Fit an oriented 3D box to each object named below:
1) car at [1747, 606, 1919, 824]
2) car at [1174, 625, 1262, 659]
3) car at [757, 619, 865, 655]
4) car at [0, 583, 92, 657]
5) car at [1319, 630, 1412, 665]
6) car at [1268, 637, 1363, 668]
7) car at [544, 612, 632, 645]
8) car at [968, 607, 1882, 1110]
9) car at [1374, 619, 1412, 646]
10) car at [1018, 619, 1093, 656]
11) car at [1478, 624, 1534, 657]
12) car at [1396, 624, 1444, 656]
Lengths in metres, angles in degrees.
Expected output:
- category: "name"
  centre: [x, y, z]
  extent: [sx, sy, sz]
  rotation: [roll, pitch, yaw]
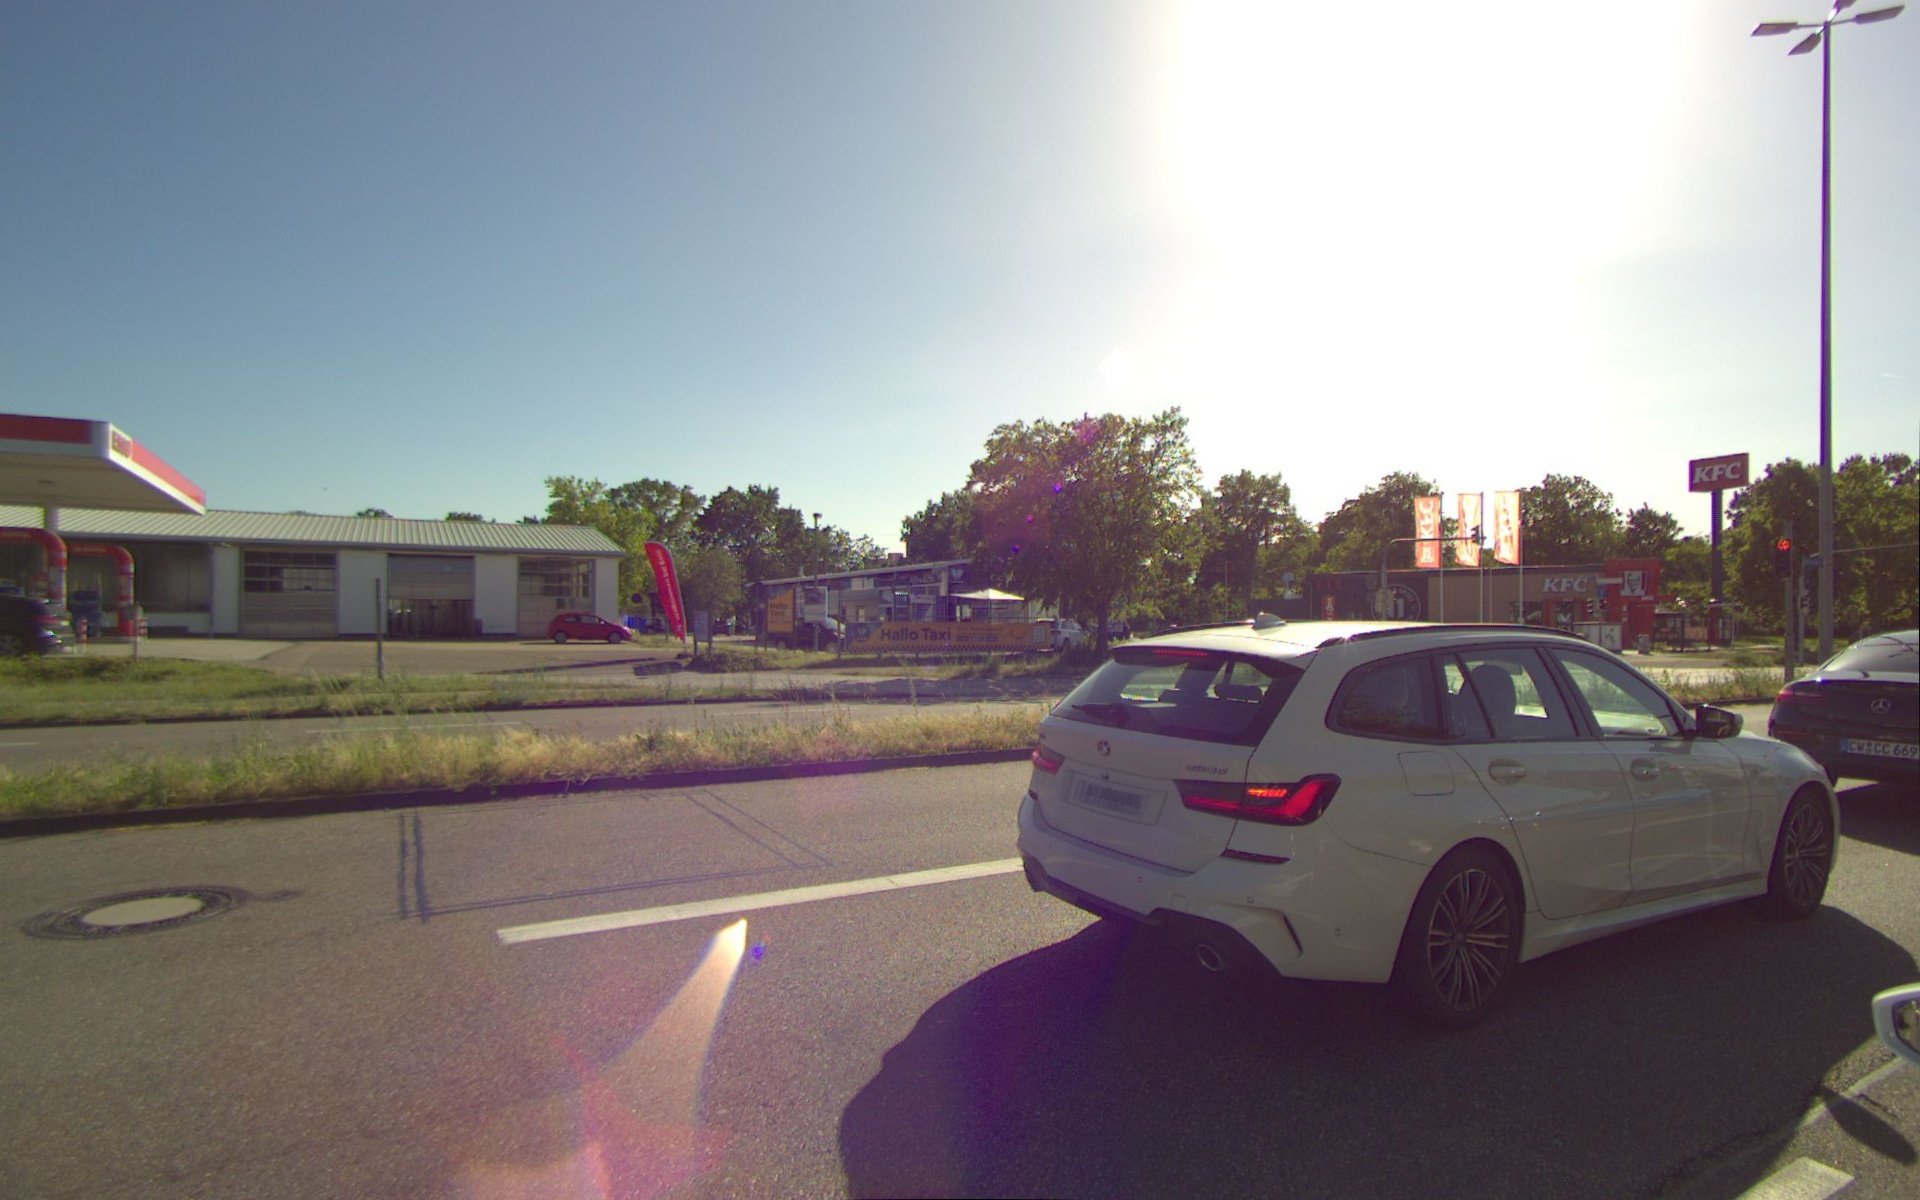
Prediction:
- category: "car"
  centre: [8.815, 0.878, 8.593]
  extent: [4.491, 1.572, 1.803]
  rotation: [1, 0, -31]
- category: "car"
  centre: [13.942, 2.240, 54.446]
  extent: [1.914, 1.600, 4.599]
  rotation: [2, 0, -31]
- category: "car"
  centre: [-5.809, 1.424, 39.062]
  extent: [3.930, 1.193, 1.774]
  rotation: [2, 0, 31]
- category: "car"
  centre: [-24.720, 0.468, 25.108]
  extent: [4.269, 1.749, 1.795]
  rotation: [1, 2, -29]
- category: "car"
  centre: [20.101, 2.337, 49.880]
  extent: [1.913, 1.472, 3.935]
  rotation: [2, 0, -30]
- category: "car"
  centre: [17.009, 2.486, 48.228]
  extent: [1.850, 1.268, 4.062]
  rotation: [2, 0, -31]
- category: "car"
  centre: [-18.286, 1.387, 49.337]
  extent: [3.949, 1.491, 1.521]
  rotation: [2, 0, -24]
- category: "car"
  centre: [2.447, 0.823, 4.947]
  extent: [4.541, 1.506, 1.804]
  rotation: [1, -1, -30]
- category: "car"
  centre: [31.506, 2.314, 73.148]
  extent: [1.960, 1.837, 3.774]
  rotation: [2, 0, 16]
- category: "car"
  centre: [4.202, 1.574, 43.639]
  extent: [1.962, 1.461, 3.997]
  rotation: [2, 0, 25]
- category: "car"
  centre: [32.682, 2.389, 60.239]
  extent: [1.896, 1.763, 4.099]
  rotation: [2, 0, 14]
- category: "car"
  centre: [28.042, 2.414, 61.389]
  extent: [1.896, 1.763, 4.099]
  rotation: [2, 0, 14]
